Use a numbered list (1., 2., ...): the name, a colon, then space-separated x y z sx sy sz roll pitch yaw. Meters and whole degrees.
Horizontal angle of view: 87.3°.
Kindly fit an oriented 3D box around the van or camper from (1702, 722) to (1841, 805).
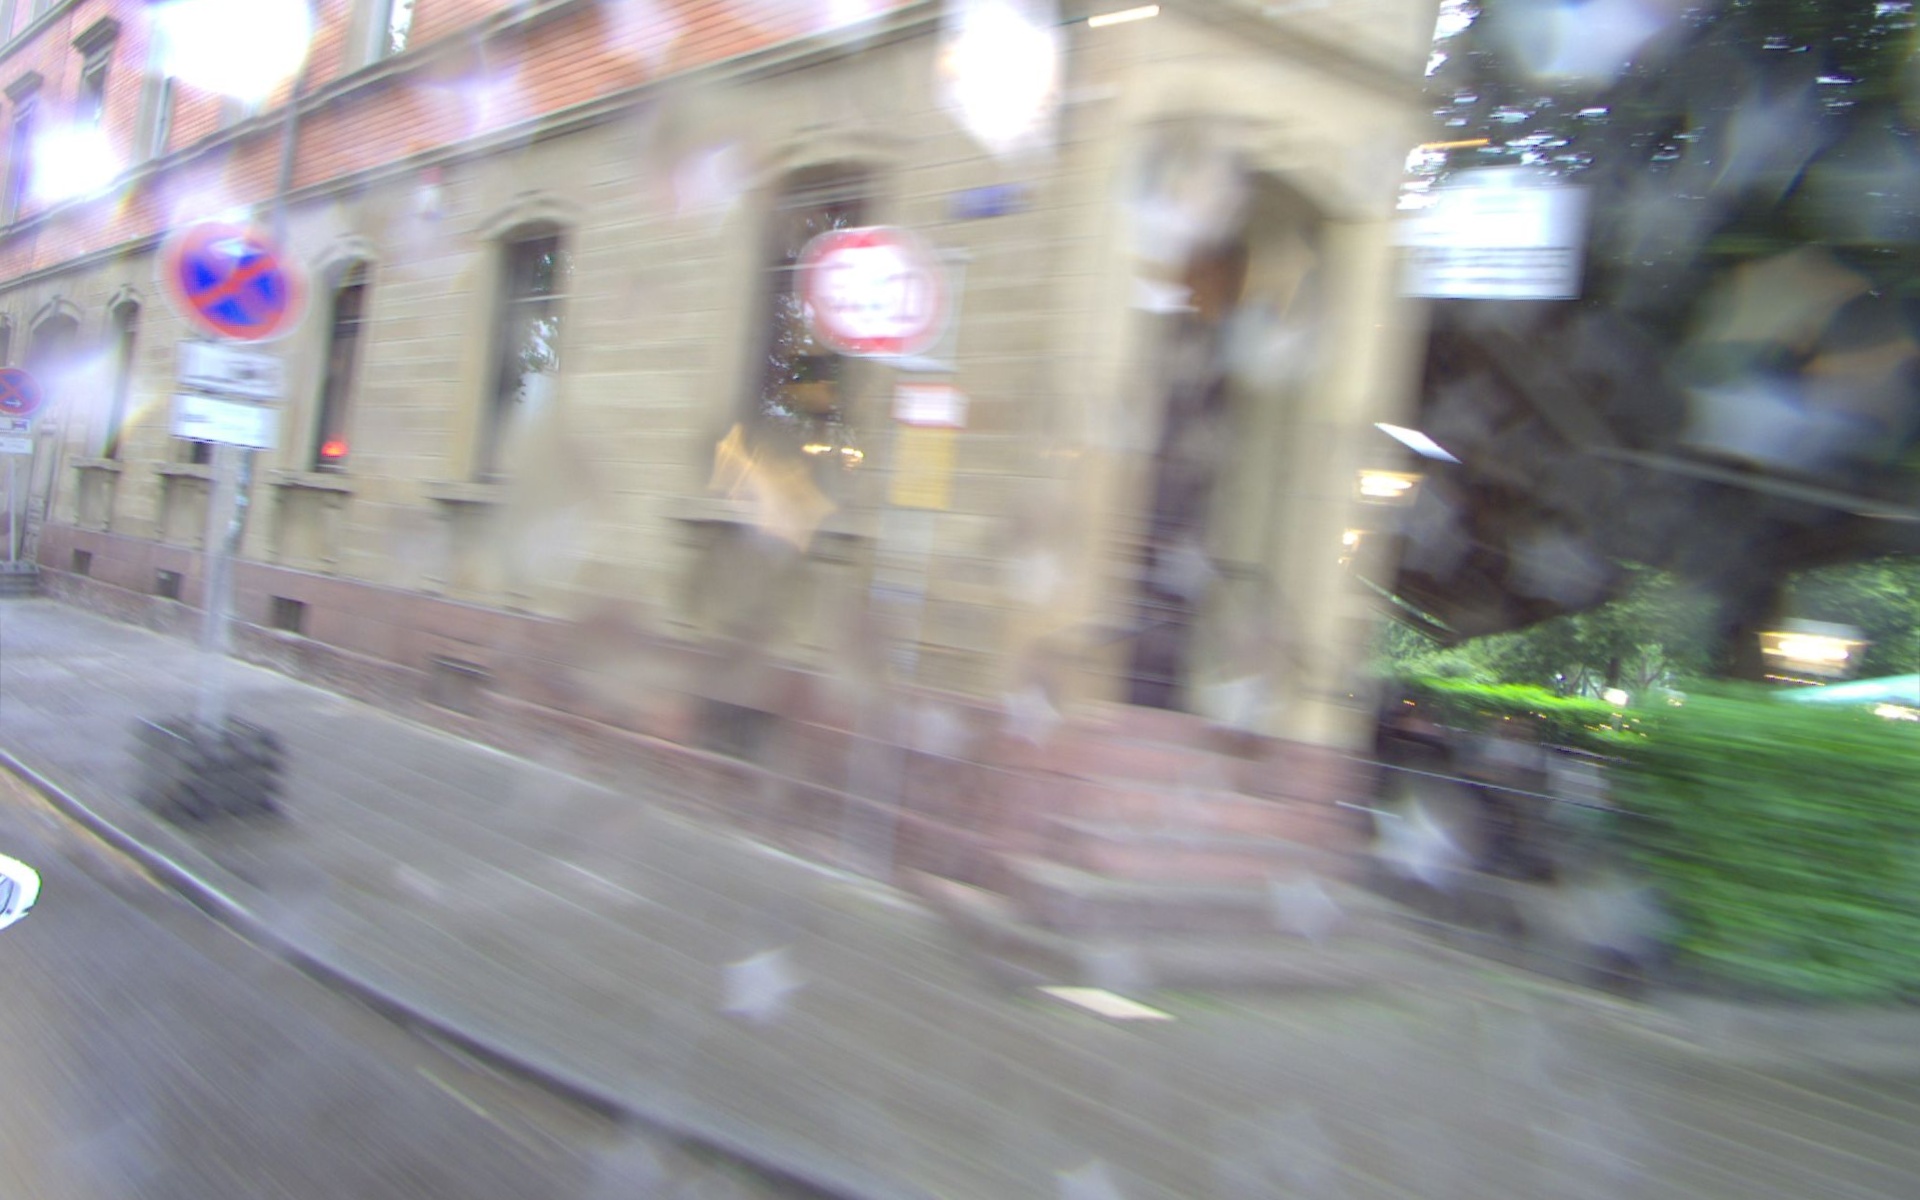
1. van or camper: 32.642 6.494 40.733 2.291 2.620 6.103 7 -3 20
